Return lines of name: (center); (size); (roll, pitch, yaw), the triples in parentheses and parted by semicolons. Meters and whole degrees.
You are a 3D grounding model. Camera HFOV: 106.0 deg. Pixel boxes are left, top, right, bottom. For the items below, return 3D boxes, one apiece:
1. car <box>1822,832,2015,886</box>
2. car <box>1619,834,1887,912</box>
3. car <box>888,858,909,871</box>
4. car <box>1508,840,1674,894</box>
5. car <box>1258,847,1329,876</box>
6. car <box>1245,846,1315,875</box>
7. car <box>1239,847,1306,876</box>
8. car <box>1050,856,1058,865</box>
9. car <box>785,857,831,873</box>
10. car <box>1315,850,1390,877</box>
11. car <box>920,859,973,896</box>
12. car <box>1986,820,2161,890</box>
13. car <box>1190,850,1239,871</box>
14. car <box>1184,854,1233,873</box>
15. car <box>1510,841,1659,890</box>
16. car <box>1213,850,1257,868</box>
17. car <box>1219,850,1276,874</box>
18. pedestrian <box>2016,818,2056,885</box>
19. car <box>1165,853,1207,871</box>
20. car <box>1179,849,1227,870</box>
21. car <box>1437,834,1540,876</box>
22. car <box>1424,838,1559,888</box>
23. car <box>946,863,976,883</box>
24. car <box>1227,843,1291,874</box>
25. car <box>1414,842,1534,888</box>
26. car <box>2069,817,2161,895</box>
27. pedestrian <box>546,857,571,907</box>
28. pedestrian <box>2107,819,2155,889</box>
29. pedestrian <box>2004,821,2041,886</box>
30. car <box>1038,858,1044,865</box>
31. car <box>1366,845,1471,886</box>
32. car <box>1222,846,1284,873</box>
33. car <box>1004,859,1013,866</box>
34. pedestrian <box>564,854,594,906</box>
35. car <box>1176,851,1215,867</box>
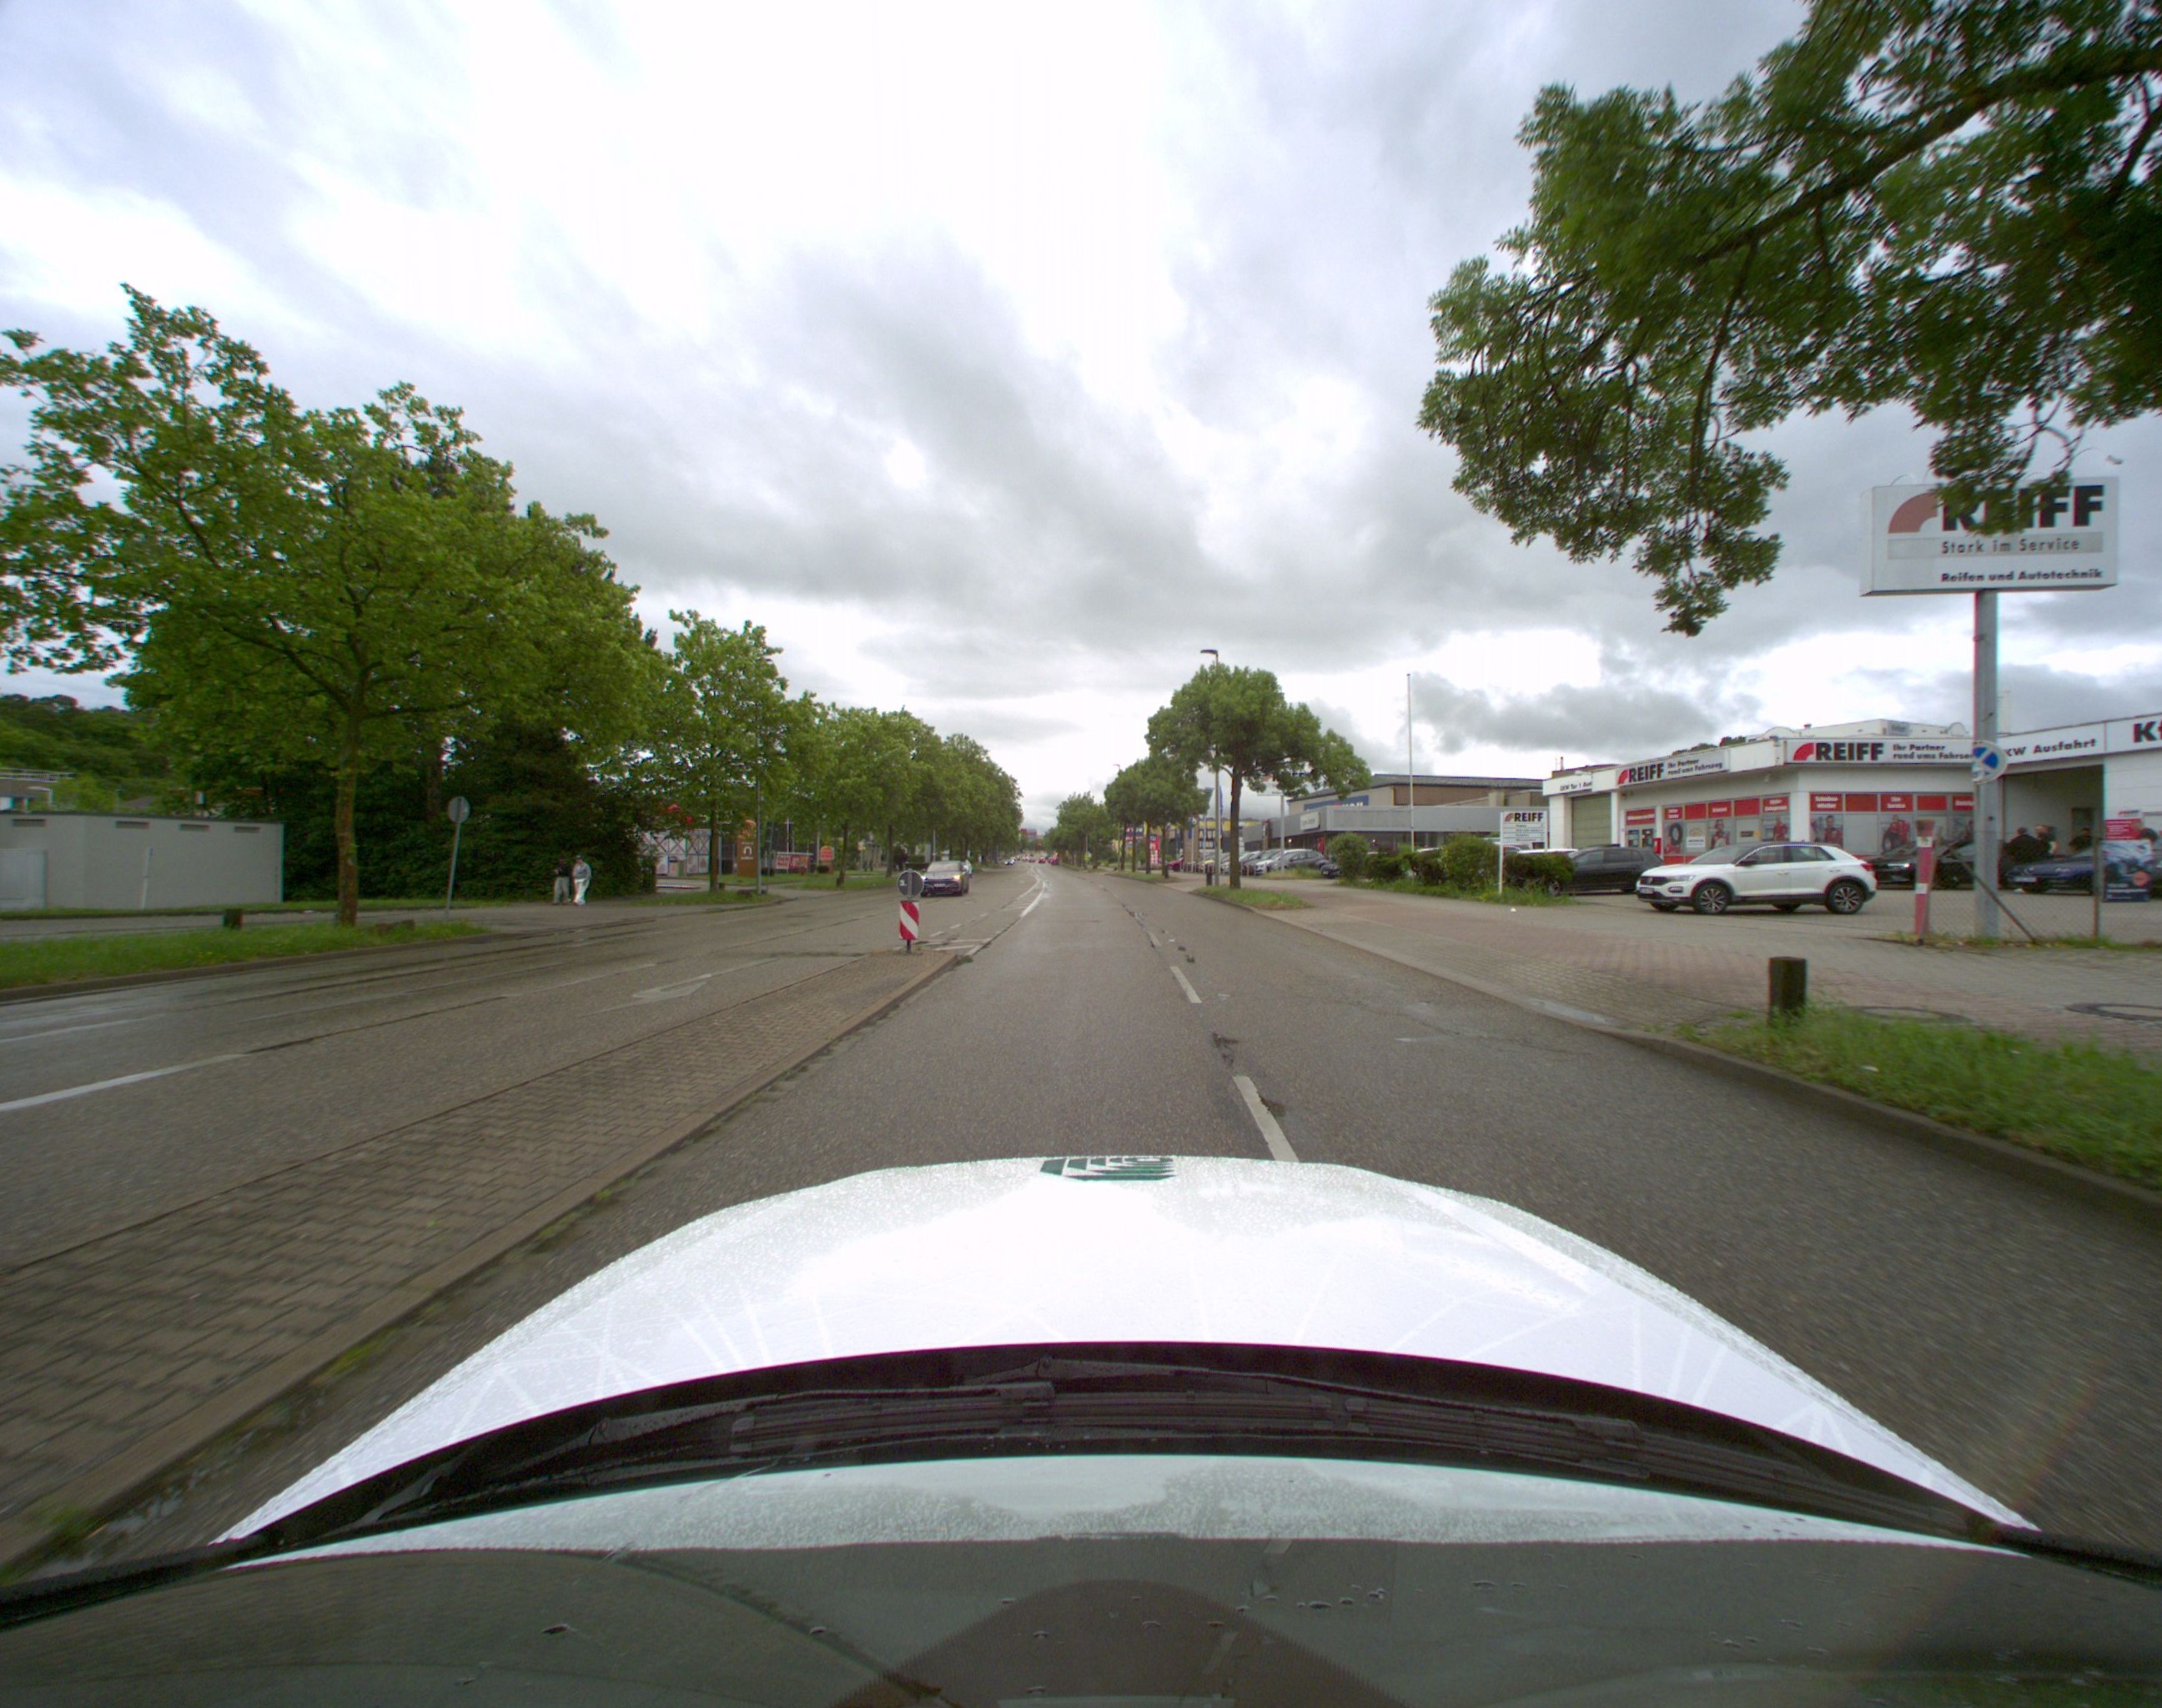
car: (24.444, 0.151, 23.872); (3.835, 1.479, 1.786); (0, -1, -1)
car: (14.421, 0.406, 17.709); (4.153, 1.552, 1.893); (-1, 0, 6)
car: (-22.057, 1.239, 98.475); (1.820, 1.486, 3.933); (-1, 0, -4)
car: (15.575, 0.397, 25.077); (3.960, 1.522, 1.724); (-2, -1, 12)
car: (13.063, 0.466, 50.169); (3.825, 1.461, 1.825); (-5, 0, -4)
car: (12.832, 0.413, 52.604); (3.976, 1.543, 1.811); (-5, 0, -1)
car: (12.904, 0.495, 55.028); (3.975, 1.584, 1.811); (-5, 0, -1)
car: (-6.284, 1.544, 190.532); (1.740, 2.014, 3.997); (-1, 0, -2)
car: (-21.323, 0.869, 63.663); (3.160, 1.155, 1.292); (2, 0, 5)
car: (15.456, 0.541, 46.486); (3.668, 1.464, 1.793); (-1, -1, -1)
car: (-6.155, 1.066, 37.814); (1.806, 1.562, 4.595); (-1, -1, -2)
car: (25.199, 0.002, 19.967); (3.972, 1.579, 1.776); (-2, -1, 1)
car: (11.560, 0.556, 70.780); (3.833, 1.566, 1.663); (-4, 0, -6)
car: (11.382, 0.834, 72.799); (3.978, 1.539, 1.798); (-1, 0, -3)
car: (16.889, 0.393, 27.515); (3.901, 1.523, 1.738); (-2, -1, 12)
car: (15.336, 0.460, 81.224); (4.094, 1.621, 1.881); (-2, 0, 1)
car: (12.765, 0.609, 62.688); (3.975, 1.786, 1.811); (-1, 0, -1)
pedestrian: (25.989, -0.056, 22.173); (0.434, 1.785, 0.518); (-1, -1, 14)
car: (10.434, 0.798, 81.032); (3.832, 1.603, 1.793); (-3, 0, -3)
car: (11.107, 0.482, 74.472); (3.978, 1.647, 1.843); (-4, 0, -3)
car: (22.127, 0.075, 44.284); (4.643, 2.150, 1.963); (-1, -1, -3)
car: (14.987, 0.316, 29.957); (4.113, 1.662, 1.828); (-2, 1, 12)
car: (-10.534, 1.656, 71.887); (1.922, 1.619, 4.398); (-1, -1, 0)
car: (12.450, 0.345, 57.058); (3.976, 1.786, 1.811); (-5, 0, -1)
car: (15.347, 0.438, 32.071); (4.106, 1.662, 1.831); (-1, 1, 21)
car: (25.113, -0.002, 18.046); (3.972, 1.680, 1.958); (-2, -1, 2)
pedestrian: (-18.178, 0.967, 28.329); (0.510, 1.683, 0.540); (-1, -1, -1)
pedestrian: (27.426, 0.006, 21.281); (0.512, 1.785, 0.505); (-1, -1, 4)
pedestrian: (25.085, -0.002, 21.697); (0.439, 1.705, 0.511); (0, -1, -27)
car: (-12.122, 2.325, 247.708); (1.740, 2.014, 3.997); (-1, 0, -2)
car: (14.437, 0.500, 35.105); (4.022, 1.597, 1.994); (-2, -1, 18)
car: (12.624, 0.417, 59.909); (3.980, 1.587, 1.809); (-6, 0, -5)
car: (-16.751, 1.960, 188.321); (1.800, 1.463, 3.842); (-2, 0, -3)
pedestrian: (-17.479, 0.900, 28.356); (0.659, 1.767, 0.586); (0, -1, 20)
car: (15.385, 0.656, 109.915); (4.826, 2.014, 1.981); (-1, -1, -13)
